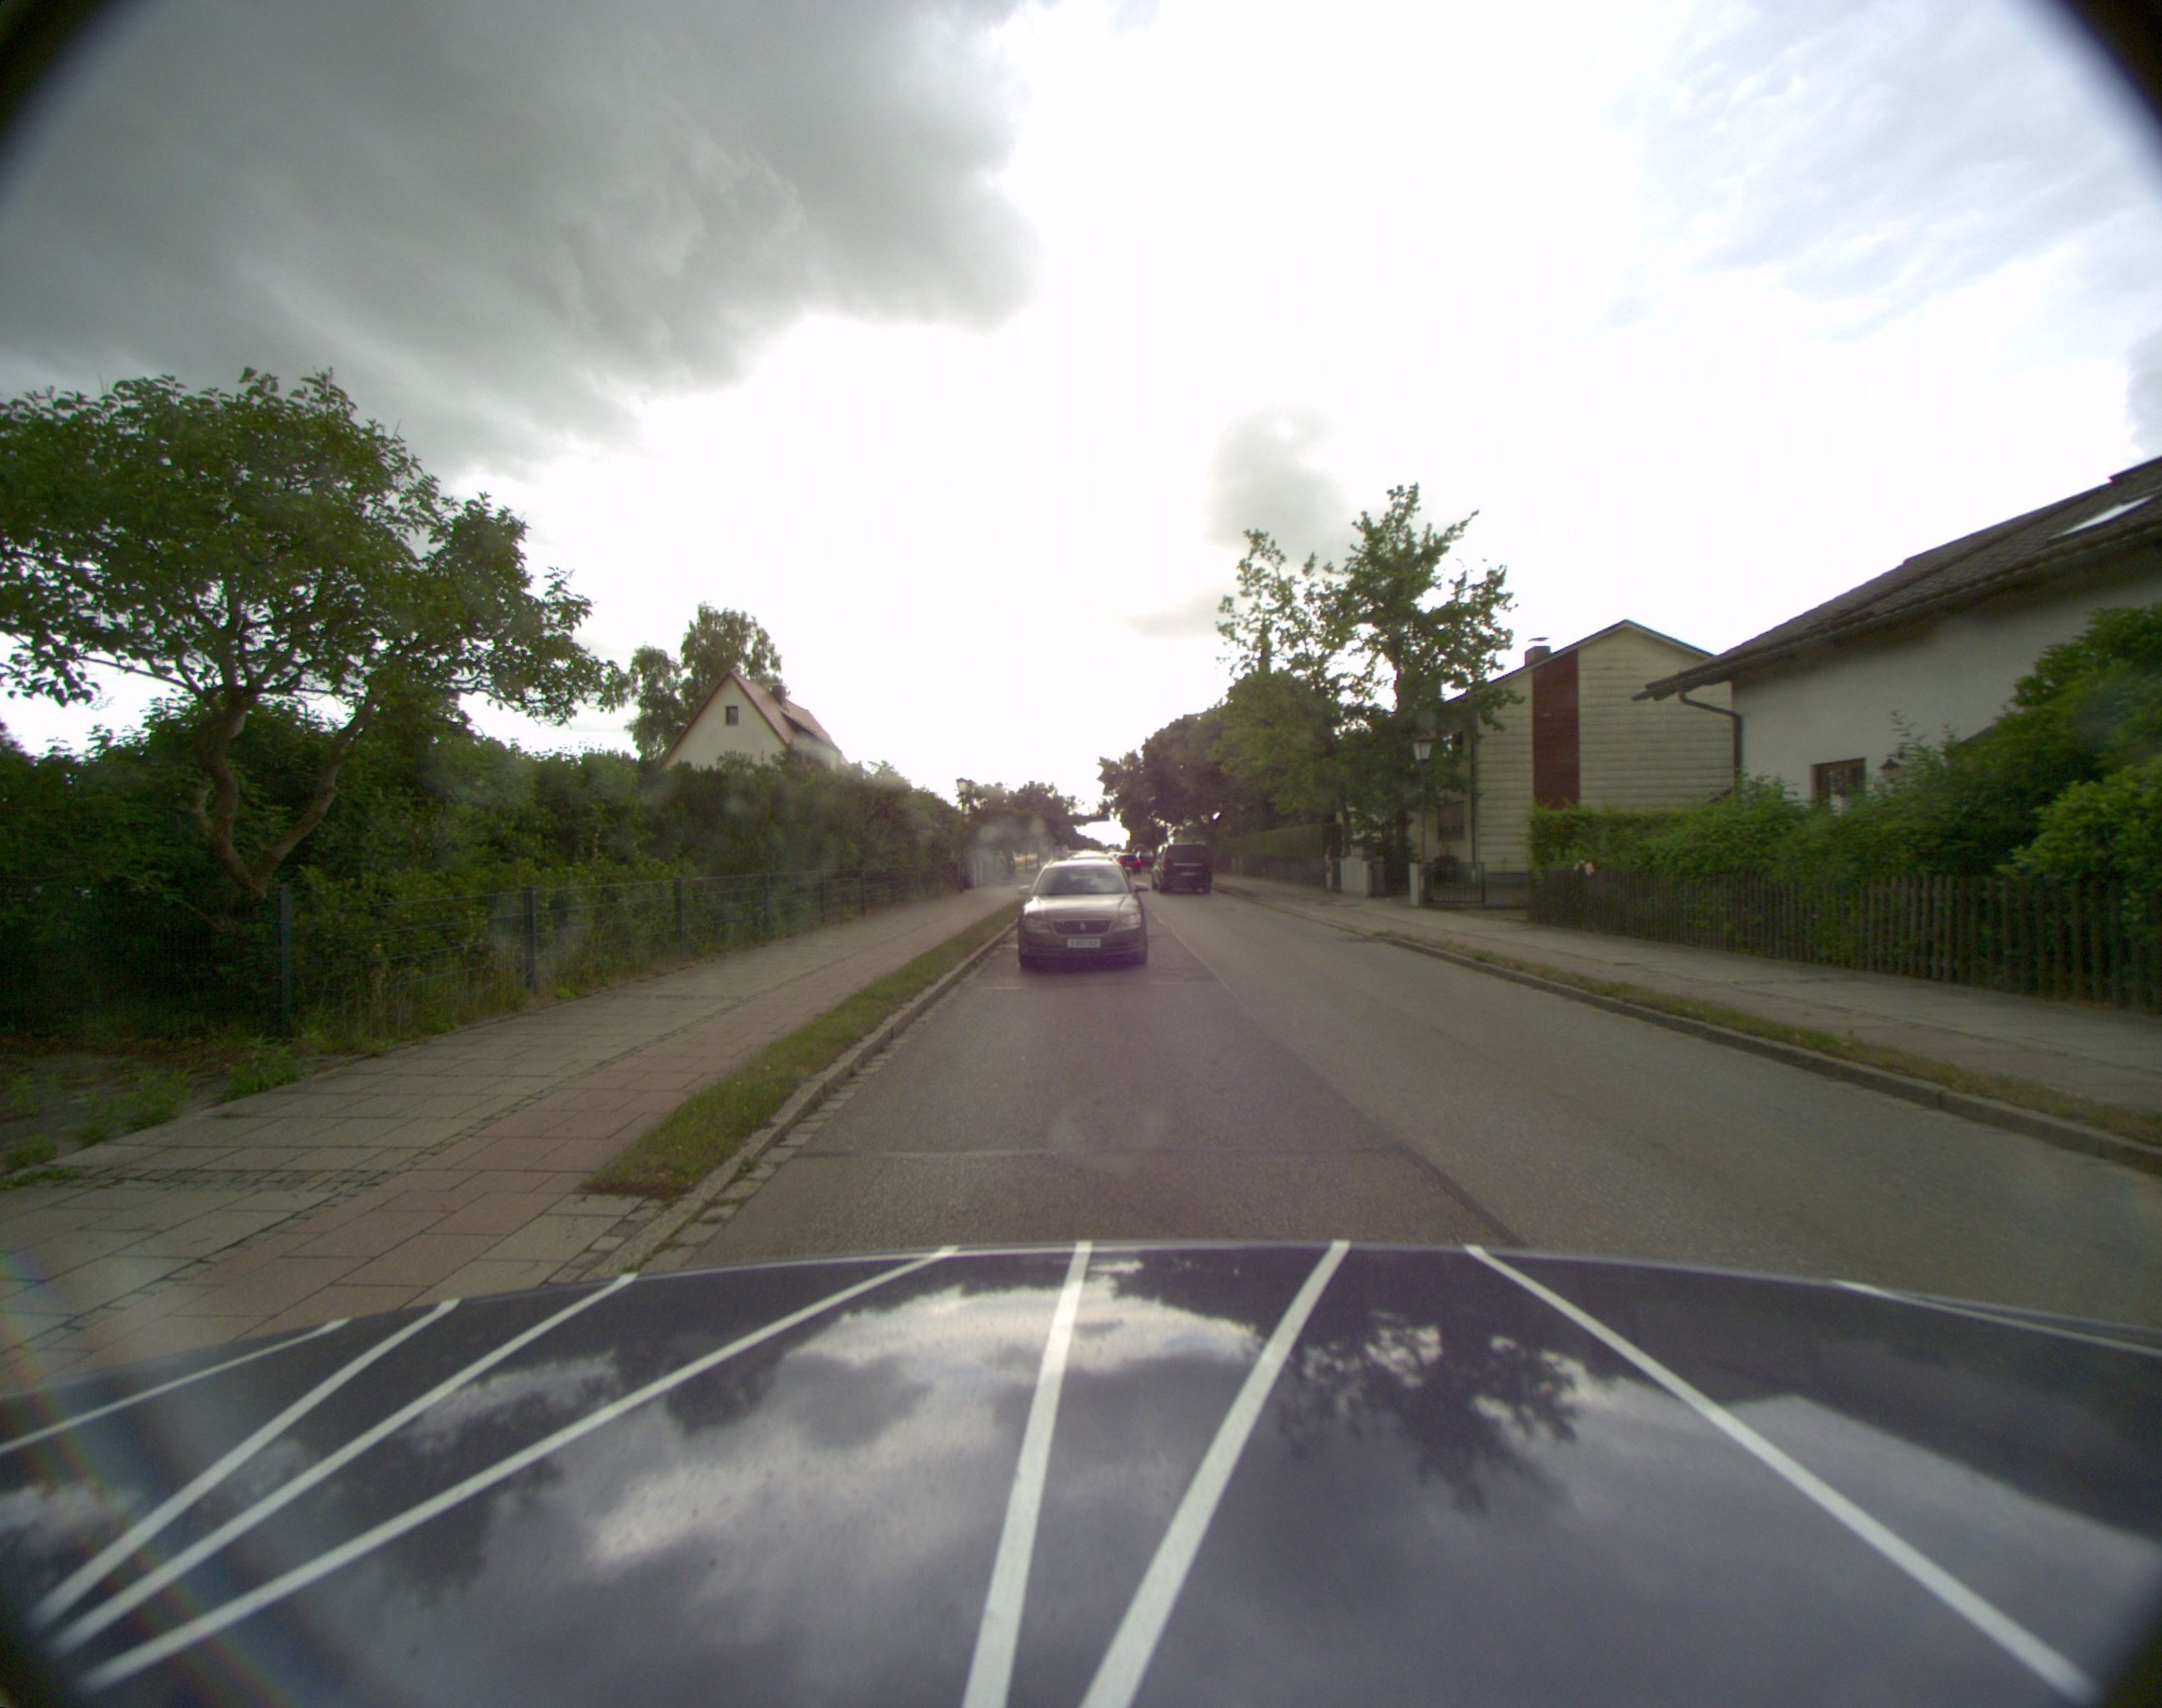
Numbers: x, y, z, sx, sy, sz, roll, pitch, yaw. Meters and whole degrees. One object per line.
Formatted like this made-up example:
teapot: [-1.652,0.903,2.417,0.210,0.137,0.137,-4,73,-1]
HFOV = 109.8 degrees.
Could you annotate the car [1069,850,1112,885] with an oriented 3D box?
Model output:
car: [0.440,0.576,35.973,1.866,1.518,4.122,-2,0,0]

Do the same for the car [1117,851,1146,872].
car: [3.783,0.535,57.510,1.851,1.445,4.548,-1,0,0]

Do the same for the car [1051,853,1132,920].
car: [0.277,0.773,20.394,1.866,1.518,4.942,-2,0,0]

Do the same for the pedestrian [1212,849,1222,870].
pedestrian: [9.370,0.363,52.334,0.631,1.429,0.563,-1,1,1]

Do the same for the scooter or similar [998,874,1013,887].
scooter or similar: [-3.338,1.157,33.620,0.618,0.553,0.742,-1,0,-3]

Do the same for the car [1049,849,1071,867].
car: [-1.889,0.365,68.348,1.866,1.518,4.122,-2,0,-1]

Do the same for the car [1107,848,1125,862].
car: [3.928,0.119,86.318,1.756,1.475,4.375,-2,0,-1]

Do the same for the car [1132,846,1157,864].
car: [6.244,0.103,75.024,1.999,1.740,3.999,-1,0,-2]

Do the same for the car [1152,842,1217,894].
car: [3.972,0.481,29.936,1.969,1.842,4.947,-1,1,2]

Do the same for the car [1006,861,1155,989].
car: [0.013,0.902,11.517,1.809,1.476,4.270,-2,0,0]

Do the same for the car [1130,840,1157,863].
car: [6.592,-0.266,80.876,2.246,2.258,4.469,-2,0,-2]

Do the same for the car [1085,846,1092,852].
car: [2.283,-1.515,227.318,1.998,2.002,4.000,-1,0,1]

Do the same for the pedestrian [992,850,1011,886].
pedestrian: [-3.575,0.632,34.297,0.793,1.593,0.671,0,1,-2]
